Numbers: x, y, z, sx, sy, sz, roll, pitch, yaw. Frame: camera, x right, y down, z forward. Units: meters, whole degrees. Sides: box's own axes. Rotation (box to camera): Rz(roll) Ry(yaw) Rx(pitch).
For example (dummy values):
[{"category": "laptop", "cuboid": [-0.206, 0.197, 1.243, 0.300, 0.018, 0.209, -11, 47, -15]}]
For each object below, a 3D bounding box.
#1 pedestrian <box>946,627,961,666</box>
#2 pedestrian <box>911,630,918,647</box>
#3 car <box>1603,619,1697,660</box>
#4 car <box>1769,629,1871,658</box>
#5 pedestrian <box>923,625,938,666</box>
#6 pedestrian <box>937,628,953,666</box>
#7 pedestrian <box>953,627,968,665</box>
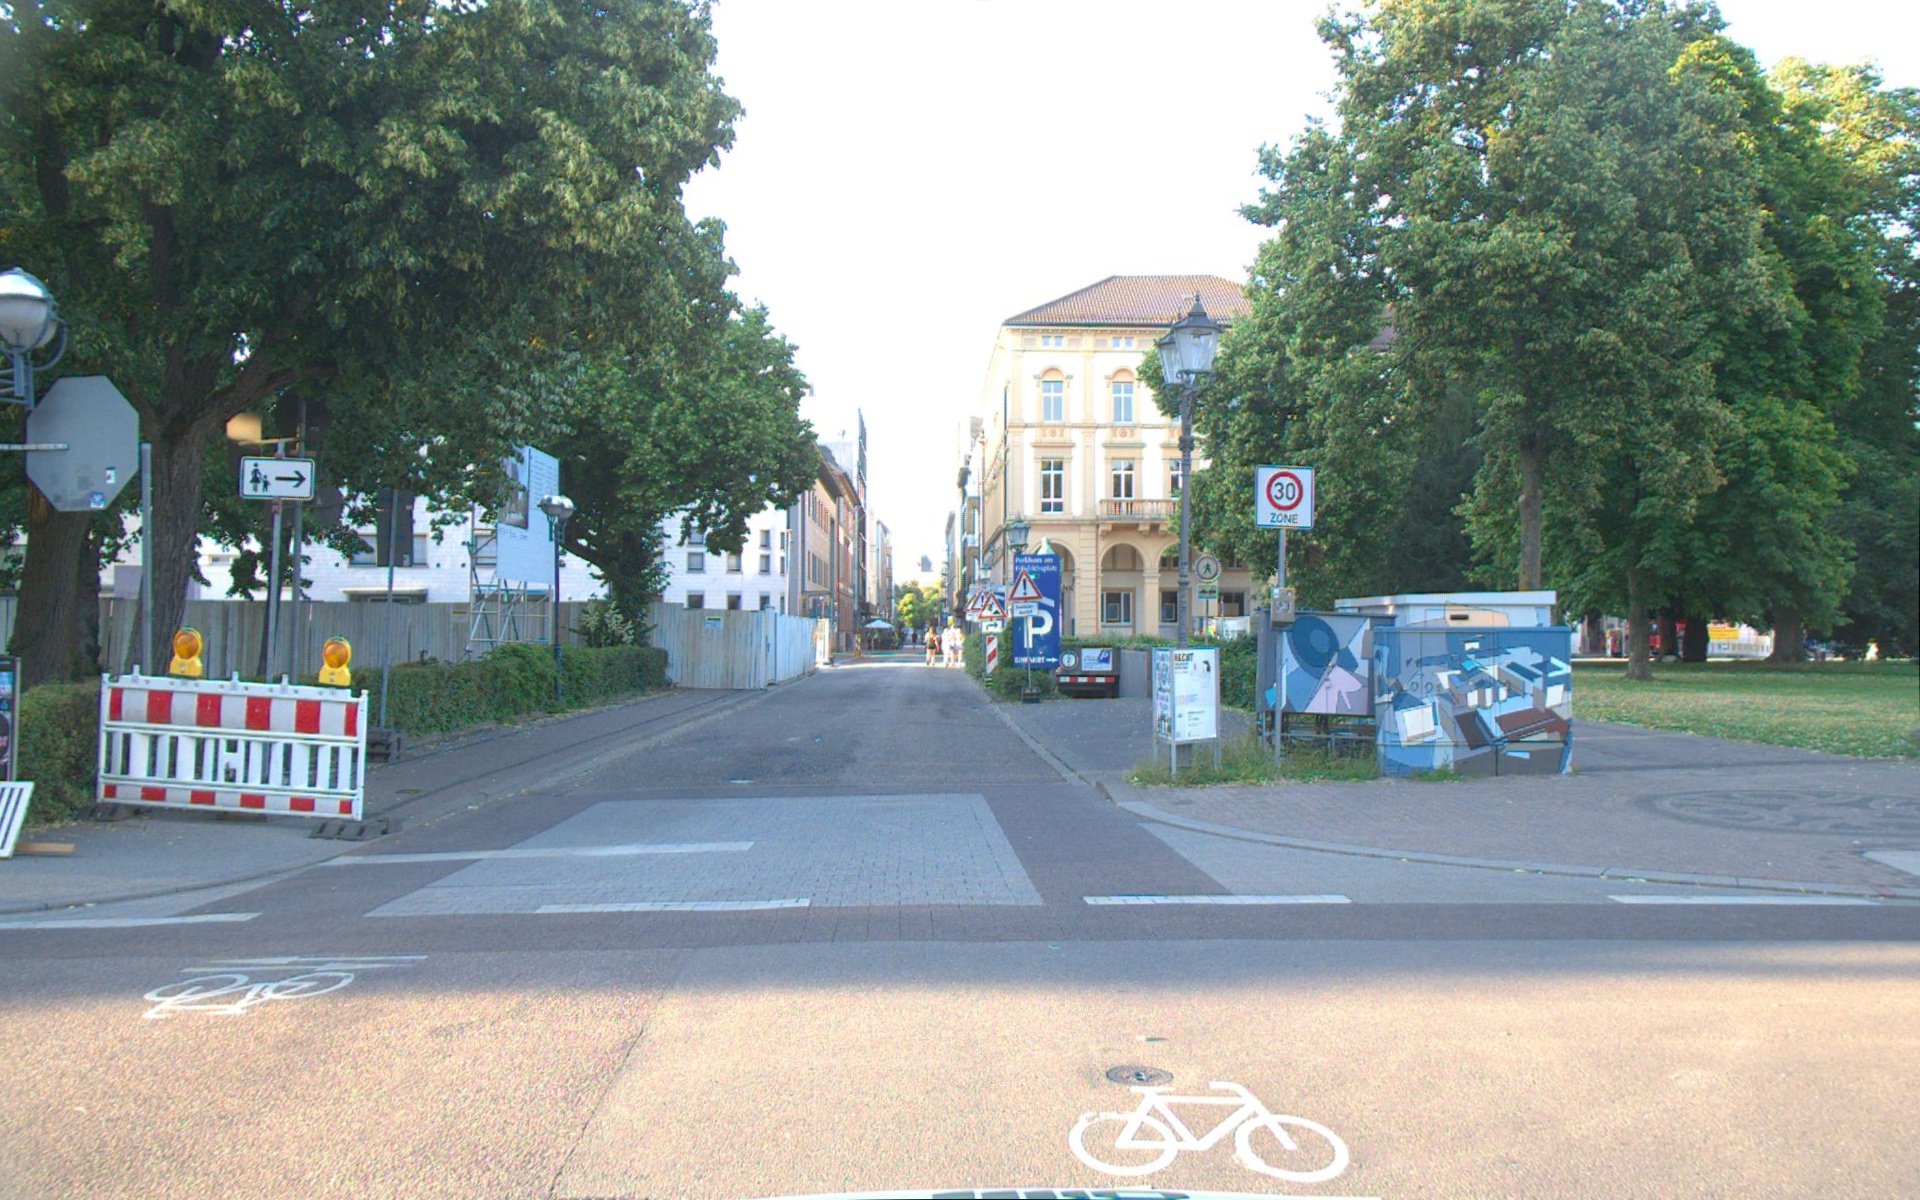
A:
[{"category": "pedestrian", "cuboid": [-0.298, 2.053, 73.151, 0.644, 1.664, 0.745, -1, -1, -1]}, {"category": "pedestrian", "cuboid": [-4.884, 4.172, 178.940, 0.743, 1.866, 0.745, -1, -1, -1]}, {"category": "car", "cuboid": [35.429, 2.037, 85.000, 3.949, 2.049, 2.000, -1, -1, 0]}, {"category": "car", "cuboid": [38.150, 1.918, 73.423, 3.506, 1.262, 1.996, 0, -1, -8]}, {"category": "pedestrian", "cuboid": [-1.315, 2.024, 73.255, 0.644, 1.791, 0.745, -1, -1, -1]}, {"category": "pedestrian", "cuboid": [-0.650, 2.043, 72.110, 0.644, 1.645, 0.745, -1, -1, -1]}, {"category": "pedestrian", "cuboid": [0.027, 1.989, 72.092, 0.644, 1.645, 0.745, -1, -1, -1]}]
